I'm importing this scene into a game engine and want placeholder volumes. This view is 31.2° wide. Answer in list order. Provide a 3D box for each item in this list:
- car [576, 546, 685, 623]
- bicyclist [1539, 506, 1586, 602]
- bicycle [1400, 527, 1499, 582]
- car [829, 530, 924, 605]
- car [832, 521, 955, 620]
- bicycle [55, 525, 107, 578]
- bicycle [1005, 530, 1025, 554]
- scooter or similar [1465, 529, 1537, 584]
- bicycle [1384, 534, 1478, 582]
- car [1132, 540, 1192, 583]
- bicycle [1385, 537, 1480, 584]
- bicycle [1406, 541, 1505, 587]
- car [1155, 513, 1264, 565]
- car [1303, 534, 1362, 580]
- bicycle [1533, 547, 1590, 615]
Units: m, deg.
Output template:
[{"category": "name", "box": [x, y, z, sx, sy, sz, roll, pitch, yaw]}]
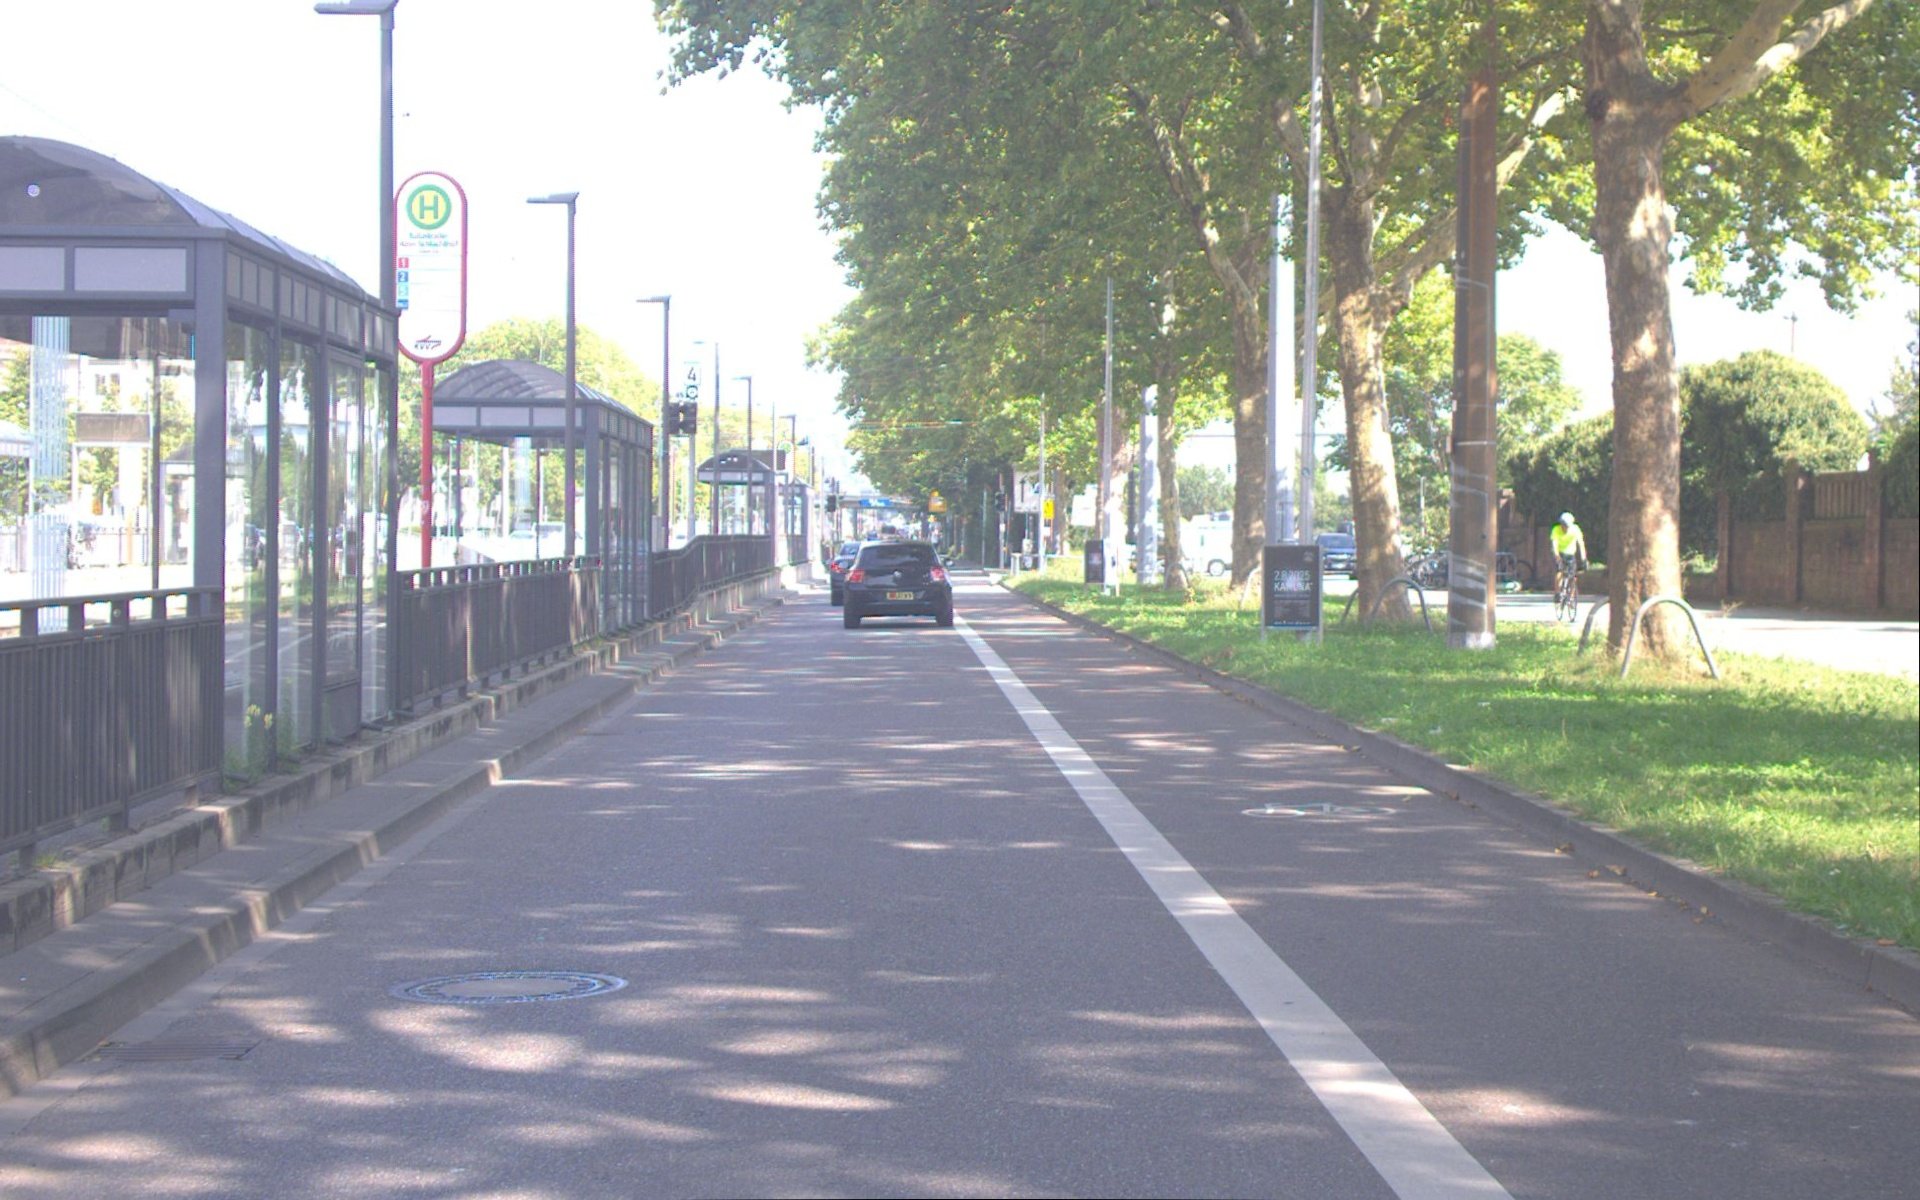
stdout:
[{"category": "car", "box": [-7.288, -0.363, 76.355, 1.993, 1.554, 4.000, -2, 1, 0]}, {"category": "bicyclist", "box": [9.184, -0.708, 52.445, 0.548, 1.448, 0.842, 0, 1, -1]}, {"category": "bicycle", "box": [12.103, -1.131, 85.059, 2.244, 1.272, 0.999, -2, 0, -1]}, {"category": "car", "box": [-1.878, -0.739, 76.380, 1.973, 1.532, 4.000, -3, 1, -2]}, {"category": "car", "box": [-1.118, -0.505, 56.618, 1.907, 1.532, 4.000, -1, 1, -2]}, {"category": "bicycle", "box": [-19.269, -1.056, 75.375, 0.471, 1.143, 1.483, 1, 1, 14]}, {"category": "bicycle", "box": [2.368, -2.497, 148.447, 0.610, 1.018, 2.403, 0, 1, -5]}, {"category": "scooter or similar", "box": [11.995, -0.957, 76.227, 1.506, 1.187, 0.538, -1, 1, 3]}, {"category": "bicycle", "box": [11.440, -1.019, 83.555, 2.173, 1.073, 0.743, -2, 1, 3]}, {"category": "car", "box": [7.005, -1.354, 119.633, 1.728, 1.443, 4.551, -1, 1, -1]}, {"category": "bicycle", "box": [11.363, -0.952, 82.738, 2.173, 1.073, 0.743, -2, 1, 3]}, {"category": "bicycle", "box": [11.599, -0.850, 80.531, 2.173, 1.073, 0.743, 0, 1, -2]}, {"category": "car", "box": [9.637, -2.363, 132.988, 4.103, 1.912, 1.848, -1, 1, 2]}, {"category": "car", "box": [13.085, -1.520, 120.895, 1.607, 1.570, 3.797, -1, 1, -1]}, {"category": "bicycle", "box": [9.177, -0.303, 52.494, 0.548, 1.003, 1.713, 0, 1, -1]}]
